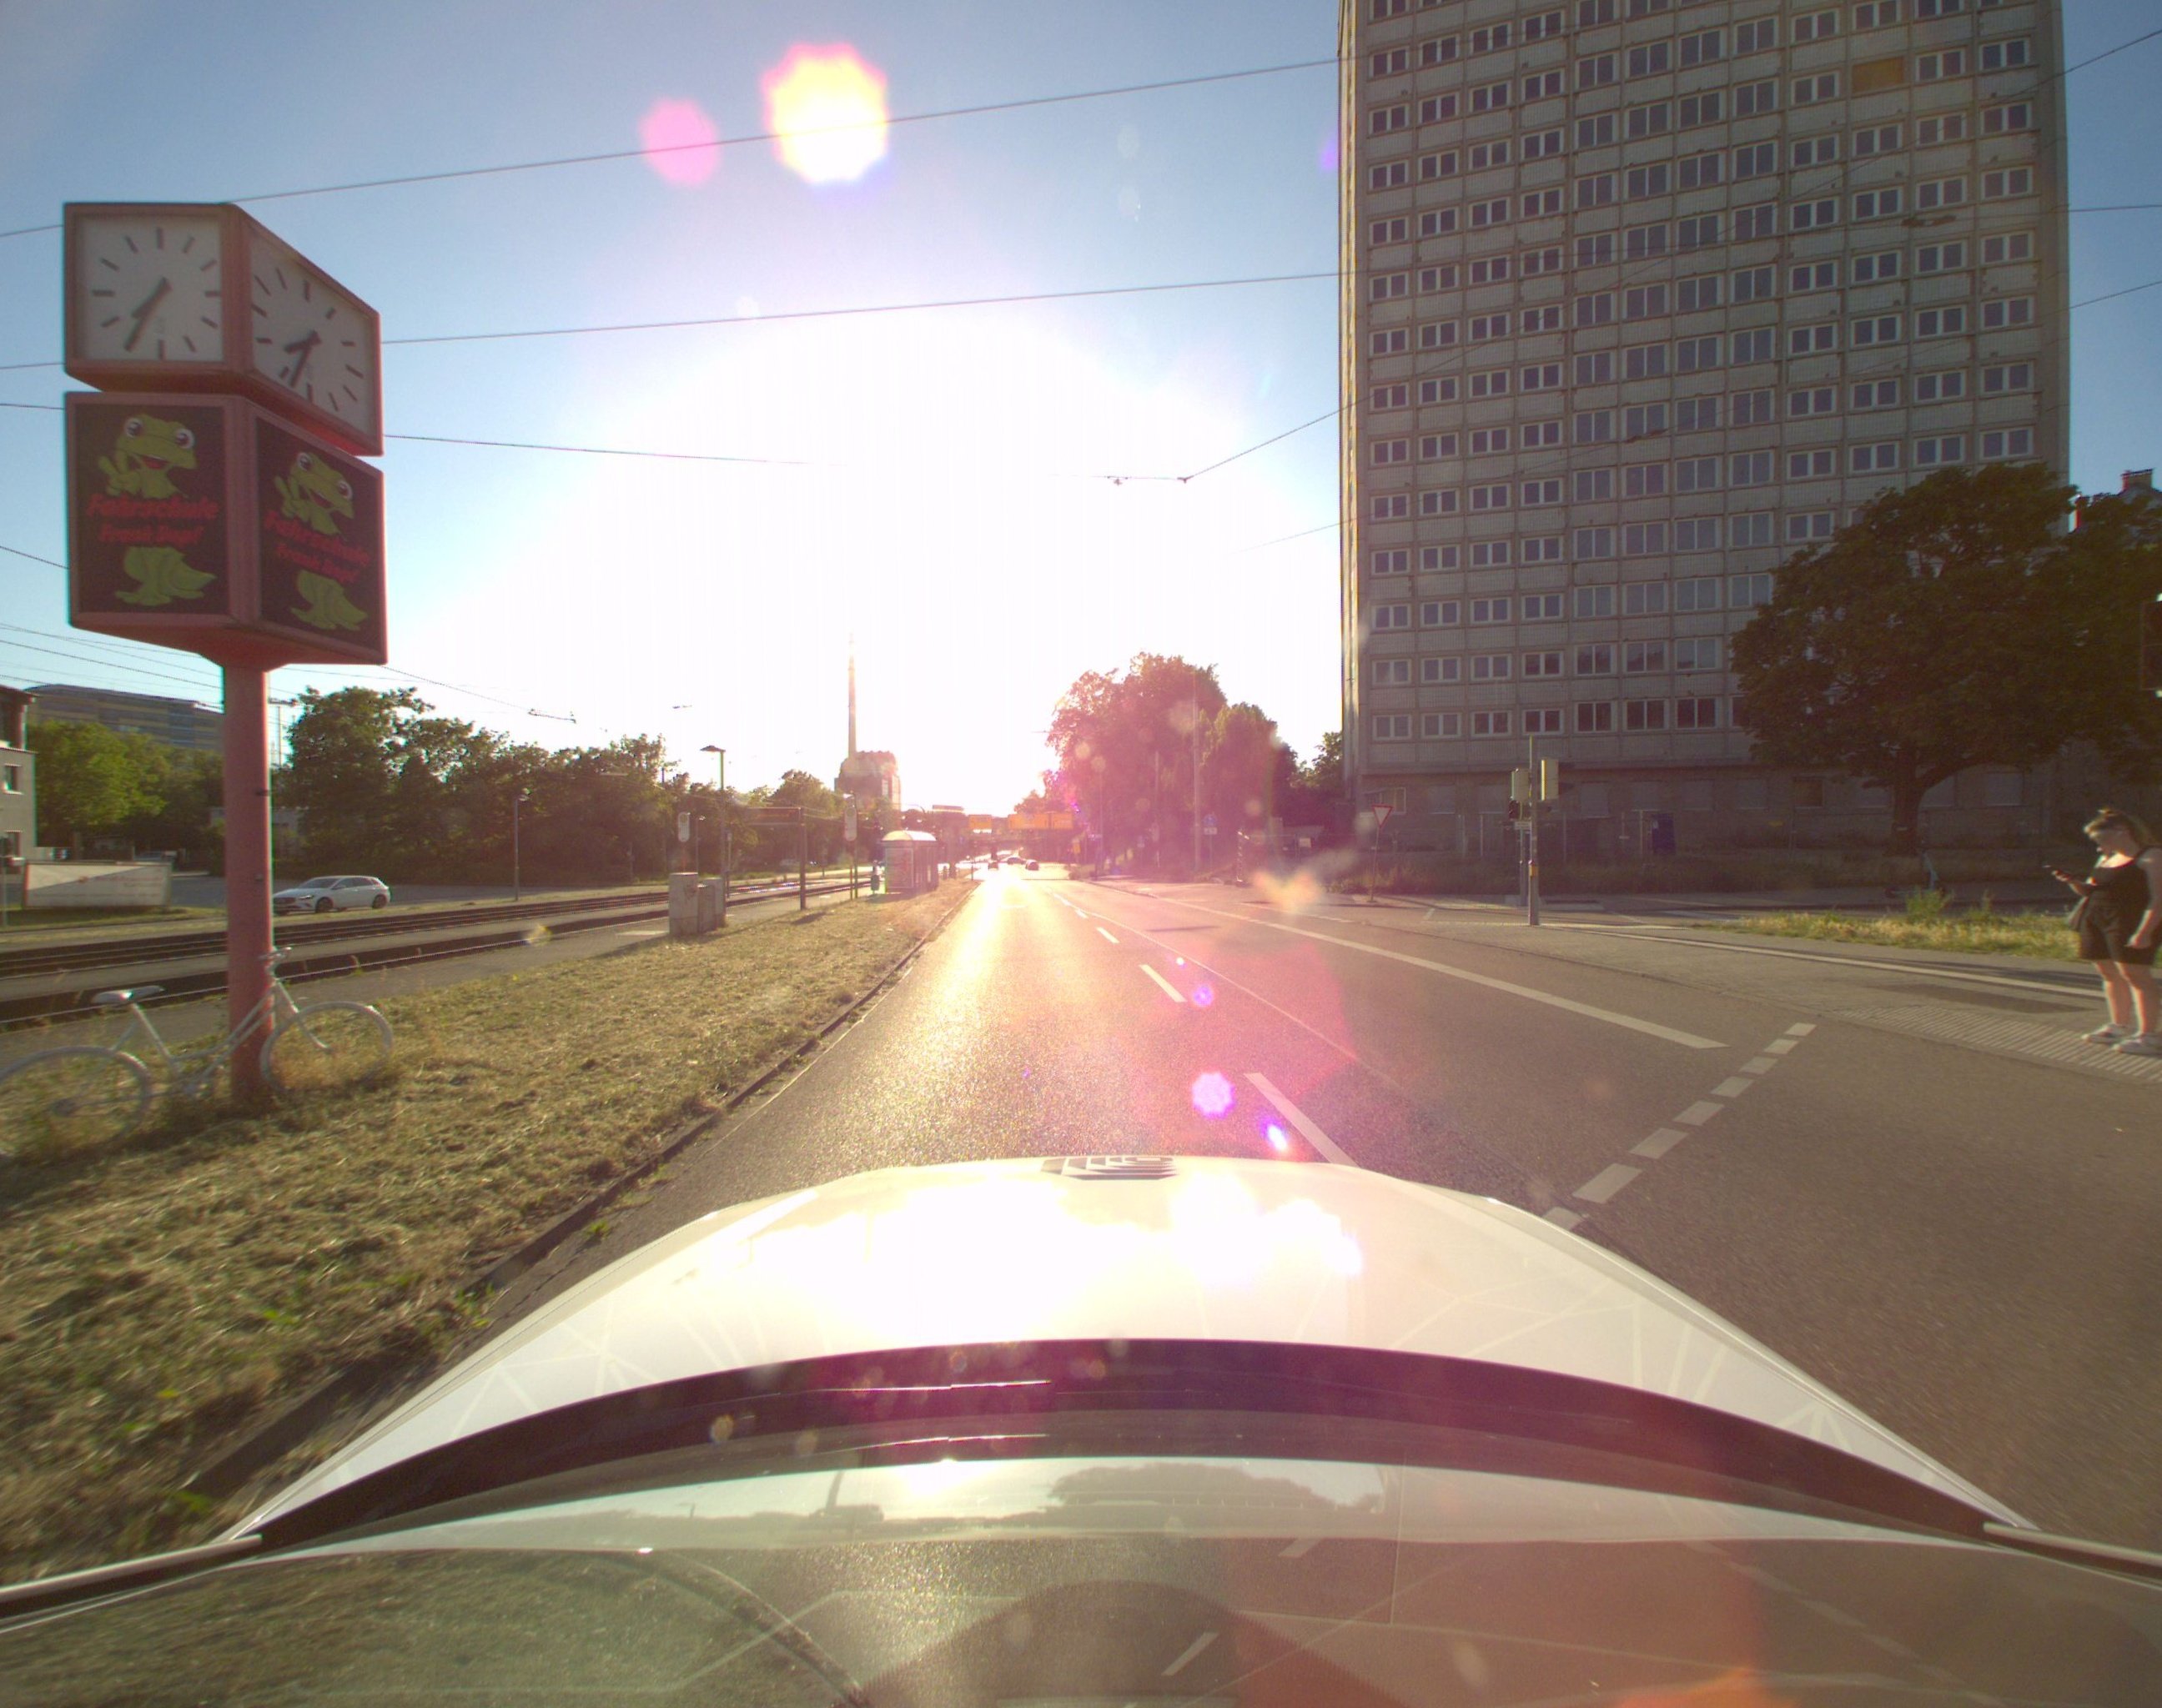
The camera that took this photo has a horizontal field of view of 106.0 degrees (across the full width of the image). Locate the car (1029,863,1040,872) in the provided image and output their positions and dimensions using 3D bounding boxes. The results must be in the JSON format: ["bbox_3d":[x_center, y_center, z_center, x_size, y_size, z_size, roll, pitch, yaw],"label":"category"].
[{"bbox_3d":[-7.167,2.095,126.141,1.511,1.387,3.361,0,1,-2],"label":"car"}]

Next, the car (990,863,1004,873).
[{"bbox_3d":[-13.236,2.208,128.316,2.033,1.446,3.996,-1,0,-3],"label":"car"}]

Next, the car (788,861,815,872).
[{"bbox_3d":[-47.188,2.083,137.619,4.012,1.750,1.981,-1,0,-30],"label":"car"}]

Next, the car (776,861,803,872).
[{"bbox_3d":[-47.816,2.009,133.556,4.012,1.750,1.981,-1,0,-30],"label":"car"}]

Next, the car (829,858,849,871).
[{"bbox_3d":[-38.895,1.736,130.916,1.988,2.014,3.997,-1,0,-2],"label":"car"}]

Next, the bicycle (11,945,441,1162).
[{"bbox_3d":[-5.189,1.129,5.102,0.548,0.918,1.754,-3,-1,28],"label":"bicycle"}]

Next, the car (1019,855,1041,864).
[{"bbox_3d":[-11.792,1.365,188.534,4.811,2.013,2.008,0,1,15],"label":"car"}]

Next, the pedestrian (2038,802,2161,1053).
[{"bbox_3d":[7.037,0.473,5.543,0.432,1.612,0.634,-1,0,26],"label":"pedestrian"}]

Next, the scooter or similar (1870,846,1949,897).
[{"bbox_3d":[19.482,0.420,19.158,1.287,1.170,0.328,-1,0,17],"label":"scooter or similar"}]

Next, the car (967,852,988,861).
[{"bbox_3d":[-25.140,0.583,197.926,4.747,2.013,2.009,0,1,16],"label":"car"}]

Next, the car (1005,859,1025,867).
[{"bbox_3d":[-13.145,1.719,162.336,3.980,1.446,1.771,-1,0,-5],"label":"car"}]

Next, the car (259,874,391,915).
[{"bbox_3d":[-32.190,1.672,34.879,1.652,1.532,4.388,-1,0,-2],"label":"car"}]

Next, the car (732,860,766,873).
[{"bbox_3d":[-52.458,1.947,128.701,4.804,1.843,1.981,-1,0,-30],"label":"car"}]
